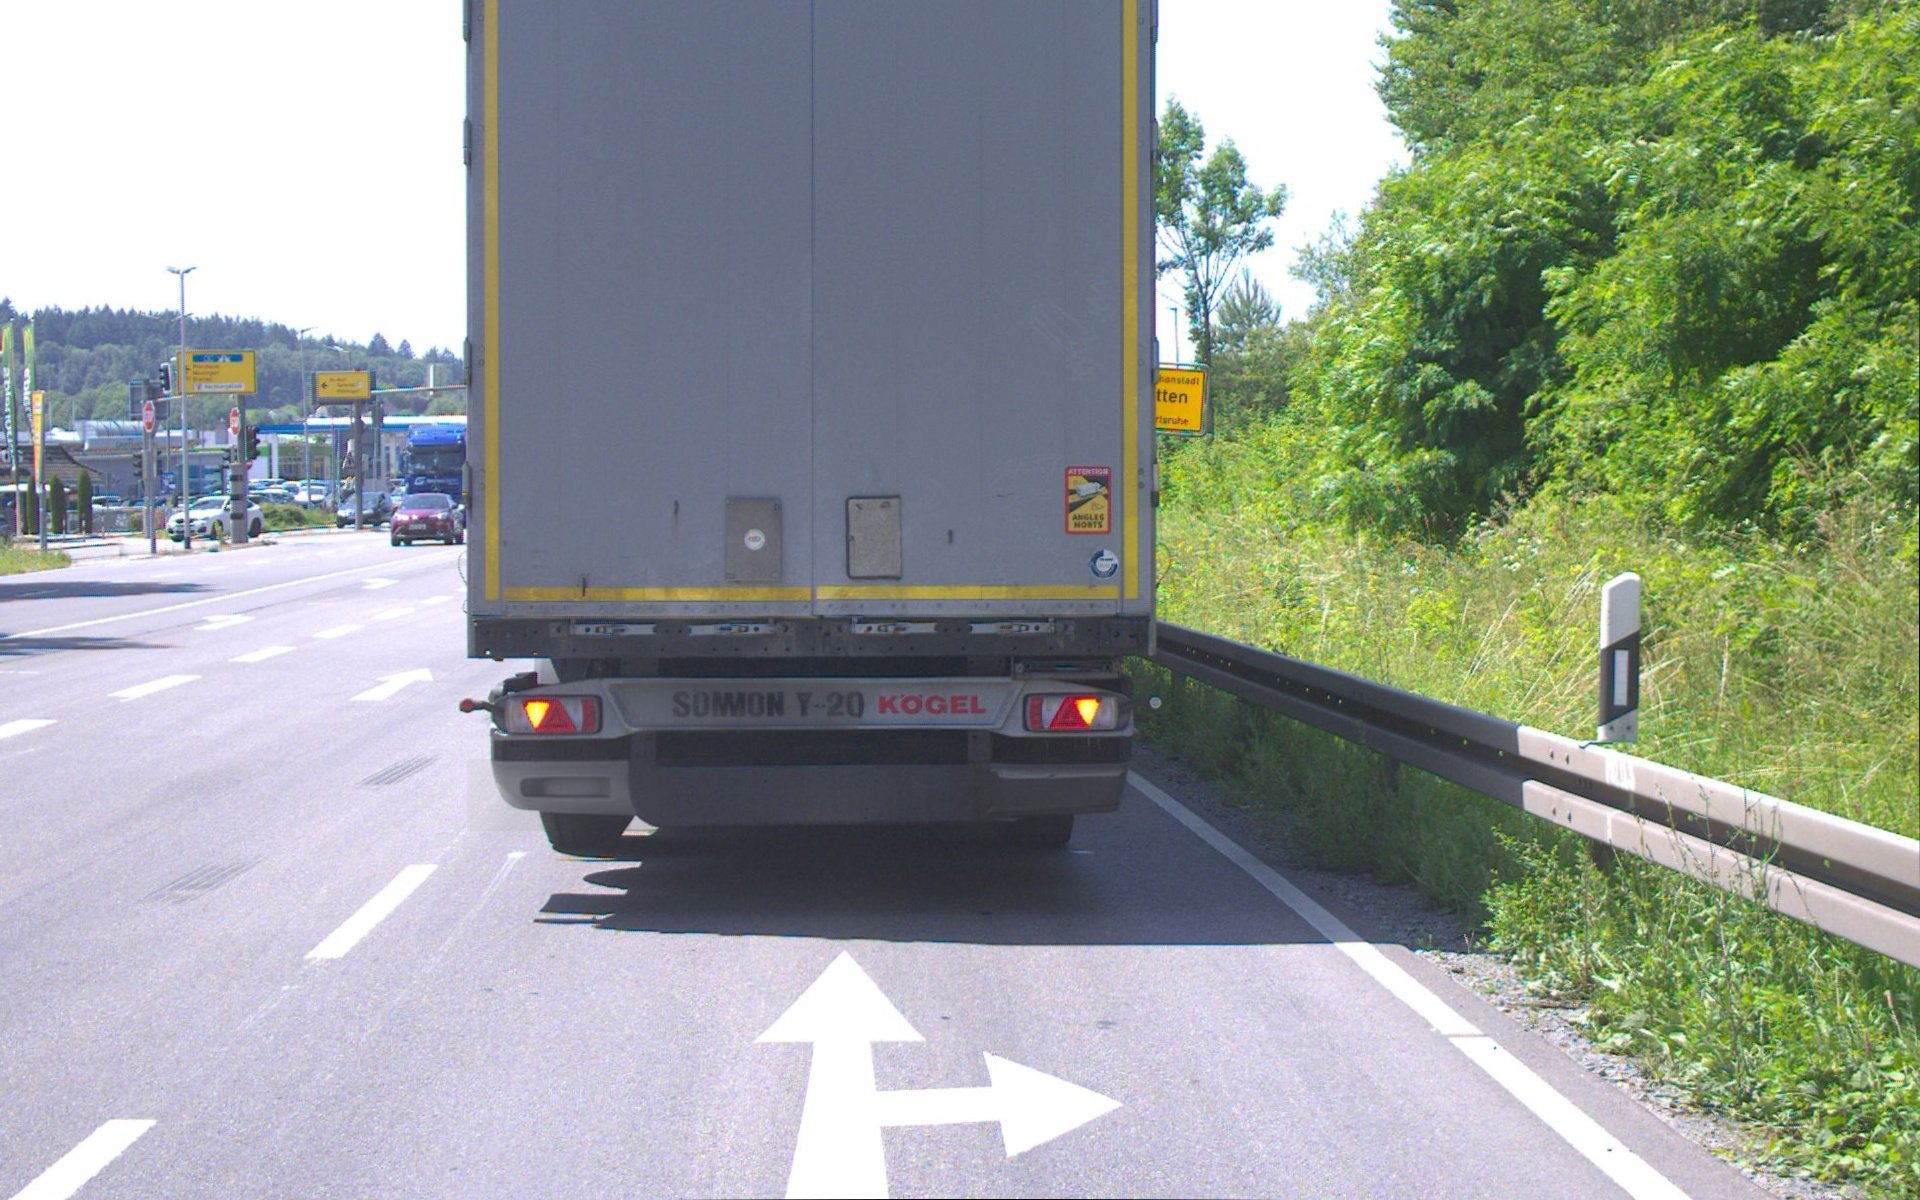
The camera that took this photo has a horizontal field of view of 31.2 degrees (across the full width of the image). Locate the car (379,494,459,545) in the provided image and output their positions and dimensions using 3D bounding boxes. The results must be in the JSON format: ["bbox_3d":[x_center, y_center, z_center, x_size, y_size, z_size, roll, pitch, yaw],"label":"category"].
[{"bbox_3d":[-16.172,-2.418,102.984,1.903,1.503,3.765,0,2,-2],"label":"car"}]

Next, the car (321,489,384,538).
[{"bbox_3d":[-25.343,-3.604,143.541,1.993,2.007,4.000,1,1,-1],"label":"car"}]

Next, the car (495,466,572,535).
[{"bbox_3d":[-12.899,-3.003,104.173,1.993,2.007,4.001,1,1,-2],"label":"car"}]

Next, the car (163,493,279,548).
[{"bbox_3d":[-27.782,-3.008,129.322,1.997,2.006,3.992,1,2,34],"label":"car"}]

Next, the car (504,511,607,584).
[{"bbox_3d":[-7.680,-0.993,65.452,1.528,1.336,3.330,1,1,0],"label":"car"}]

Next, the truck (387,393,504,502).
[{"bbox_3d":[-20.877,-6.085,140.465,2.968,4.162,16.577,0,2,-3],"label":"truck"}]

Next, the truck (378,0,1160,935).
[{"bbox_3d":[-0.901,-1.244,20.705,2.755,4.623,16.657,1,1,-2],"label":"truck"}]
